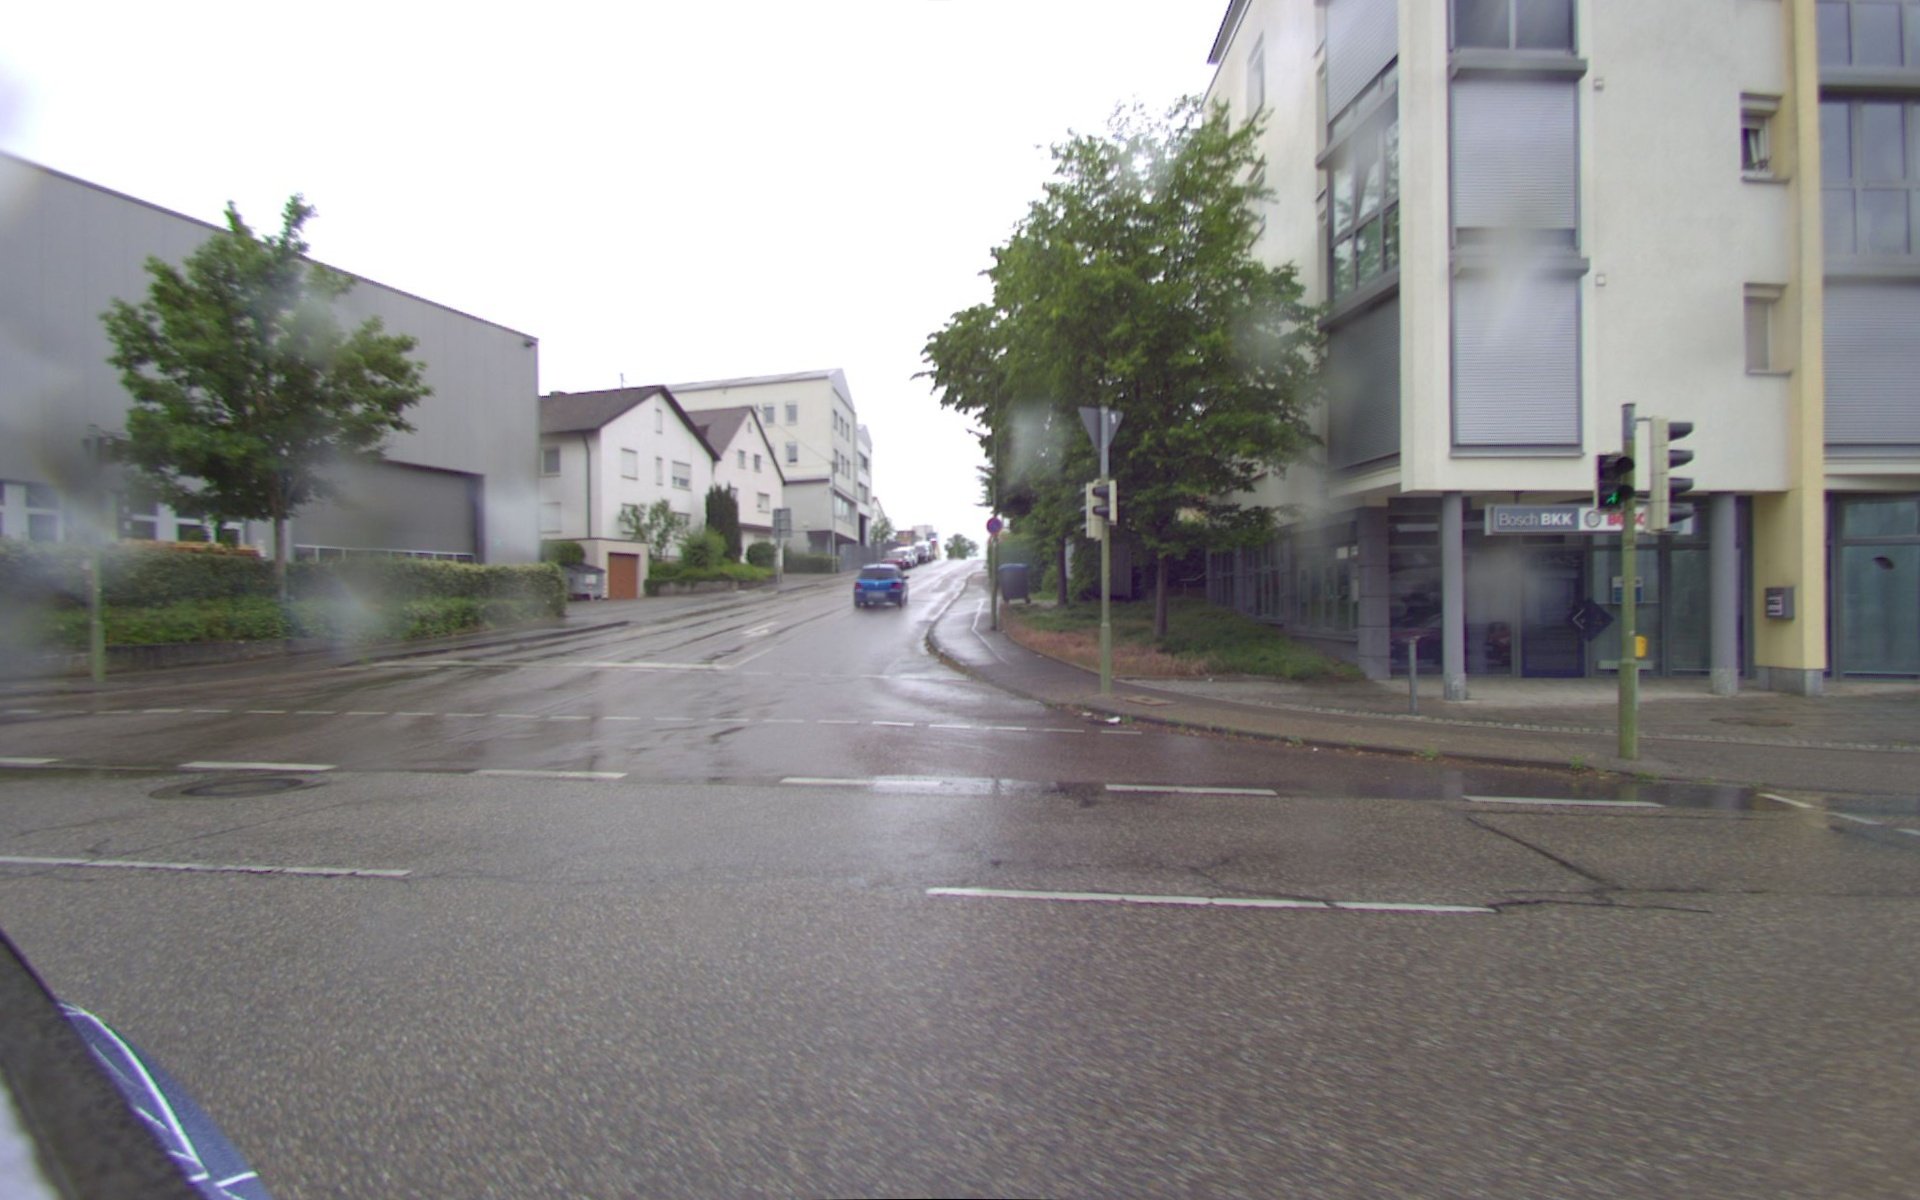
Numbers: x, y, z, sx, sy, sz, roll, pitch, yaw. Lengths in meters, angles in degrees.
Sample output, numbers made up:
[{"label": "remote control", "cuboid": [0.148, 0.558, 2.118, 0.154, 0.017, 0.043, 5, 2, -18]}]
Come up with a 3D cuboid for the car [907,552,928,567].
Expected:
[{"label": "car", "cuboid": [-4.528, -4.401, 109.189, 1.826, 1.534, 3.996, 0, 2, 4]}]

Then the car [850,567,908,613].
[{"label": "car", "cuboid": [-2.865, -0.401, 36.570, 1.748, 1.456, 4.000, 0, 4, 0]}]

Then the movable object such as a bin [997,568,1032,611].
[{"label": "movable object such as a bin", "cuboid": [1.800, -0.351, 33.657, 1.043, 1.306, 1.200, -5, 1, 3]}]

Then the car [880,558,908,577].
[{"label": "car", "cuboid": [-5.501, -2.731, 84.793, 1.826, 1.534, 3.996, 0, 2, 4]}]

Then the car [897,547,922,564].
[{"label": "car", "cuboid": [-4.784, -4.247, 96.369, 1.826, 1.534, 3.996, 0, 2, 4]}]

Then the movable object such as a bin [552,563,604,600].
[{"label": "movable object such as a bin", "cuboid": [-16.379, -0.802, 43.465, 1.437, 1.547, 1.579, 1, 1, 19]}]

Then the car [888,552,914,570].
[{"label": "car", "cuboid": [-5.247, -3.456, 90.033, 1.826, 1.534, 3.996, 0, 2, 4]}]
